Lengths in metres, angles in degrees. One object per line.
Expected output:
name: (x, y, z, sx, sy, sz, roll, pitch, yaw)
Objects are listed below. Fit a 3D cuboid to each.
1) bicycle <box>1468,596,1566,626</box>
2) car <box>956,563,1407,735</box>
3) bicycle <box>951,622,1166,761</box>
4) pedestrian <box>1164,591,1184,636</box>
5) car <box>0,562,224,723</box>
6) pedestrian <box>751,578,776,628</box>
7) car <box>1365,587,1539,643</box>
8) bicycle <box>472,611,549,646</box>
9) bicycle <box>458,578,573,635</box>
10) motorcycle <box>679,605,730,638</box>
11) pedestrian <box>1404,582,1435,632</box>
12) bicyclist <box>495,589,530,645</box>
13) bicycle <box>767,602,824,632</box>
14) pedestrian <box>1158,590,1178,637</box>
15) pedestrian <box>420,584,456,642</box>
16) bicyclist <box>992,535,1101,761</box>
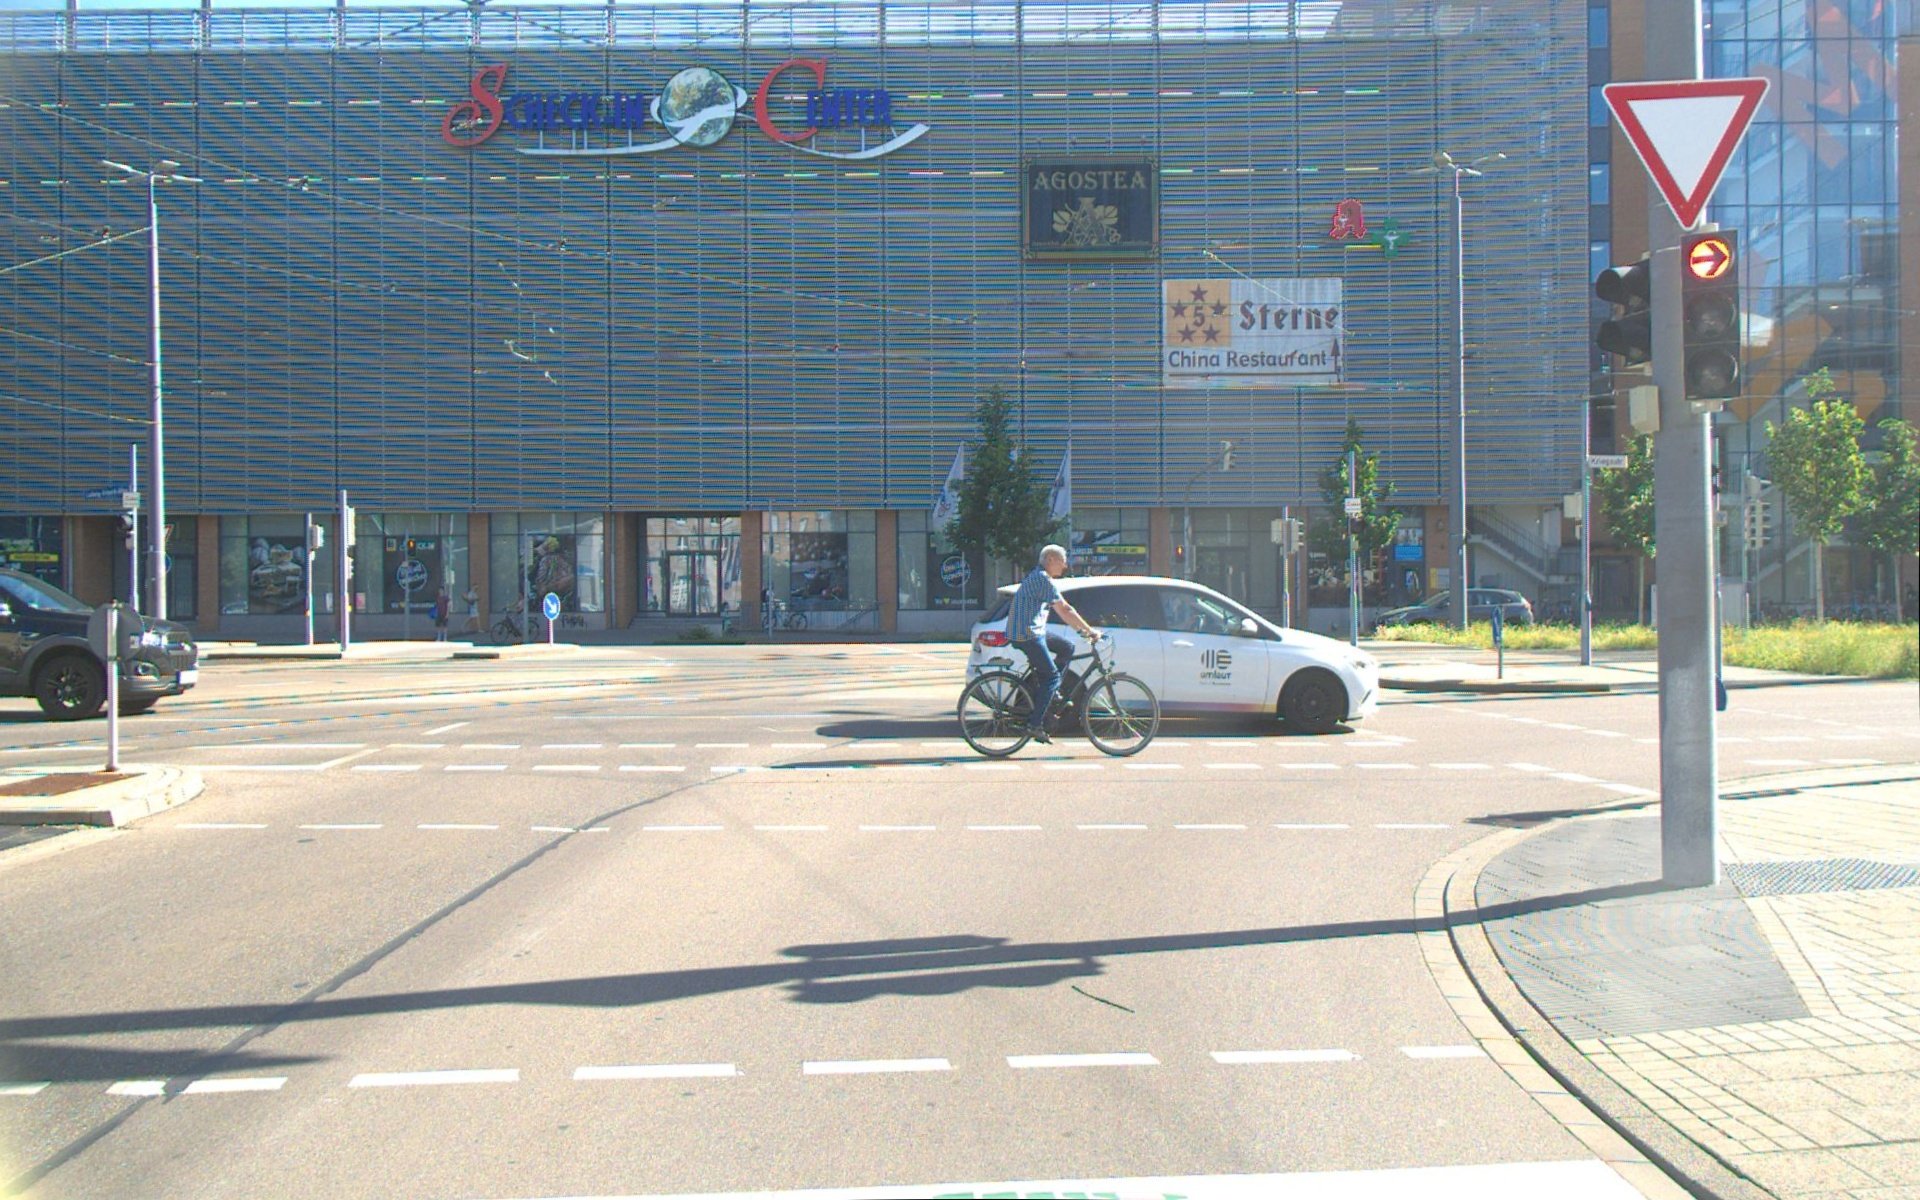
bicycle: (20.776, 0.405, 61.772, 3.289, 1.096, 1.117, 1, 1, 5)
car: (2.227, 0.457, 17.349, 4.402, 1.663, 1.837, 0, 1, -6)
bicycle: (0.825, 0.772, 14.308, 1.791, 1.135, 0.853, 0, 0, -1)
pedestrian: (7.217, 0.453, 55.828, 0.577, 1.488, 0.658, 0, 0, -1)
car: (-11.049, 0.440, 18.763, 4.545, 1.748, 1.837, 0, 1, -5)
pedestrian: (-7.132, 0.116, 59.903, 0.831, 1.794, 0.620, 0, 0, -2)
car: (13.685, 0.409, 46.140, 4.395, 1.521, 1.494, 0, 0, -1)
bicycle: (-14.820, 0.925, 54.574, 2.225, 1.089, 1.030, -1, 0, -42)
bicycle: (-16.535, 0.228, 61.553, 3.905, 2.049, 1.330, 0, 0, -1)
motorcycle: (-8.645, 0.731, 56.005, 1.616, 1.078, 0.497, 0, 0, 9)
pedestrian: (16.230, 0.247, 58.413, 0.837, 1.768, 0.752, -1, 0, -7)
bicyclist: (-14.788, 0.543, 54.631, 0.838, 1.834, 0.803, 0, 0, -42)
bicycle: (-6.010, 0.611, 60.586, 1.985, 1.078, 1.145, 0, 0, -1)
pedestrian: (6.899, 0.438, 54.940, 0.577, 1.561, 0.658, 0, 0, -1)
pedestrian: (-17.383, 0.419, 55.080, 0.890, 1.901, 0.816, 0, 0, 42)
bicyclist: (0.738, 0.403, 14.329, 0.883, 1.892, 0.854, 0, 0, -1)
